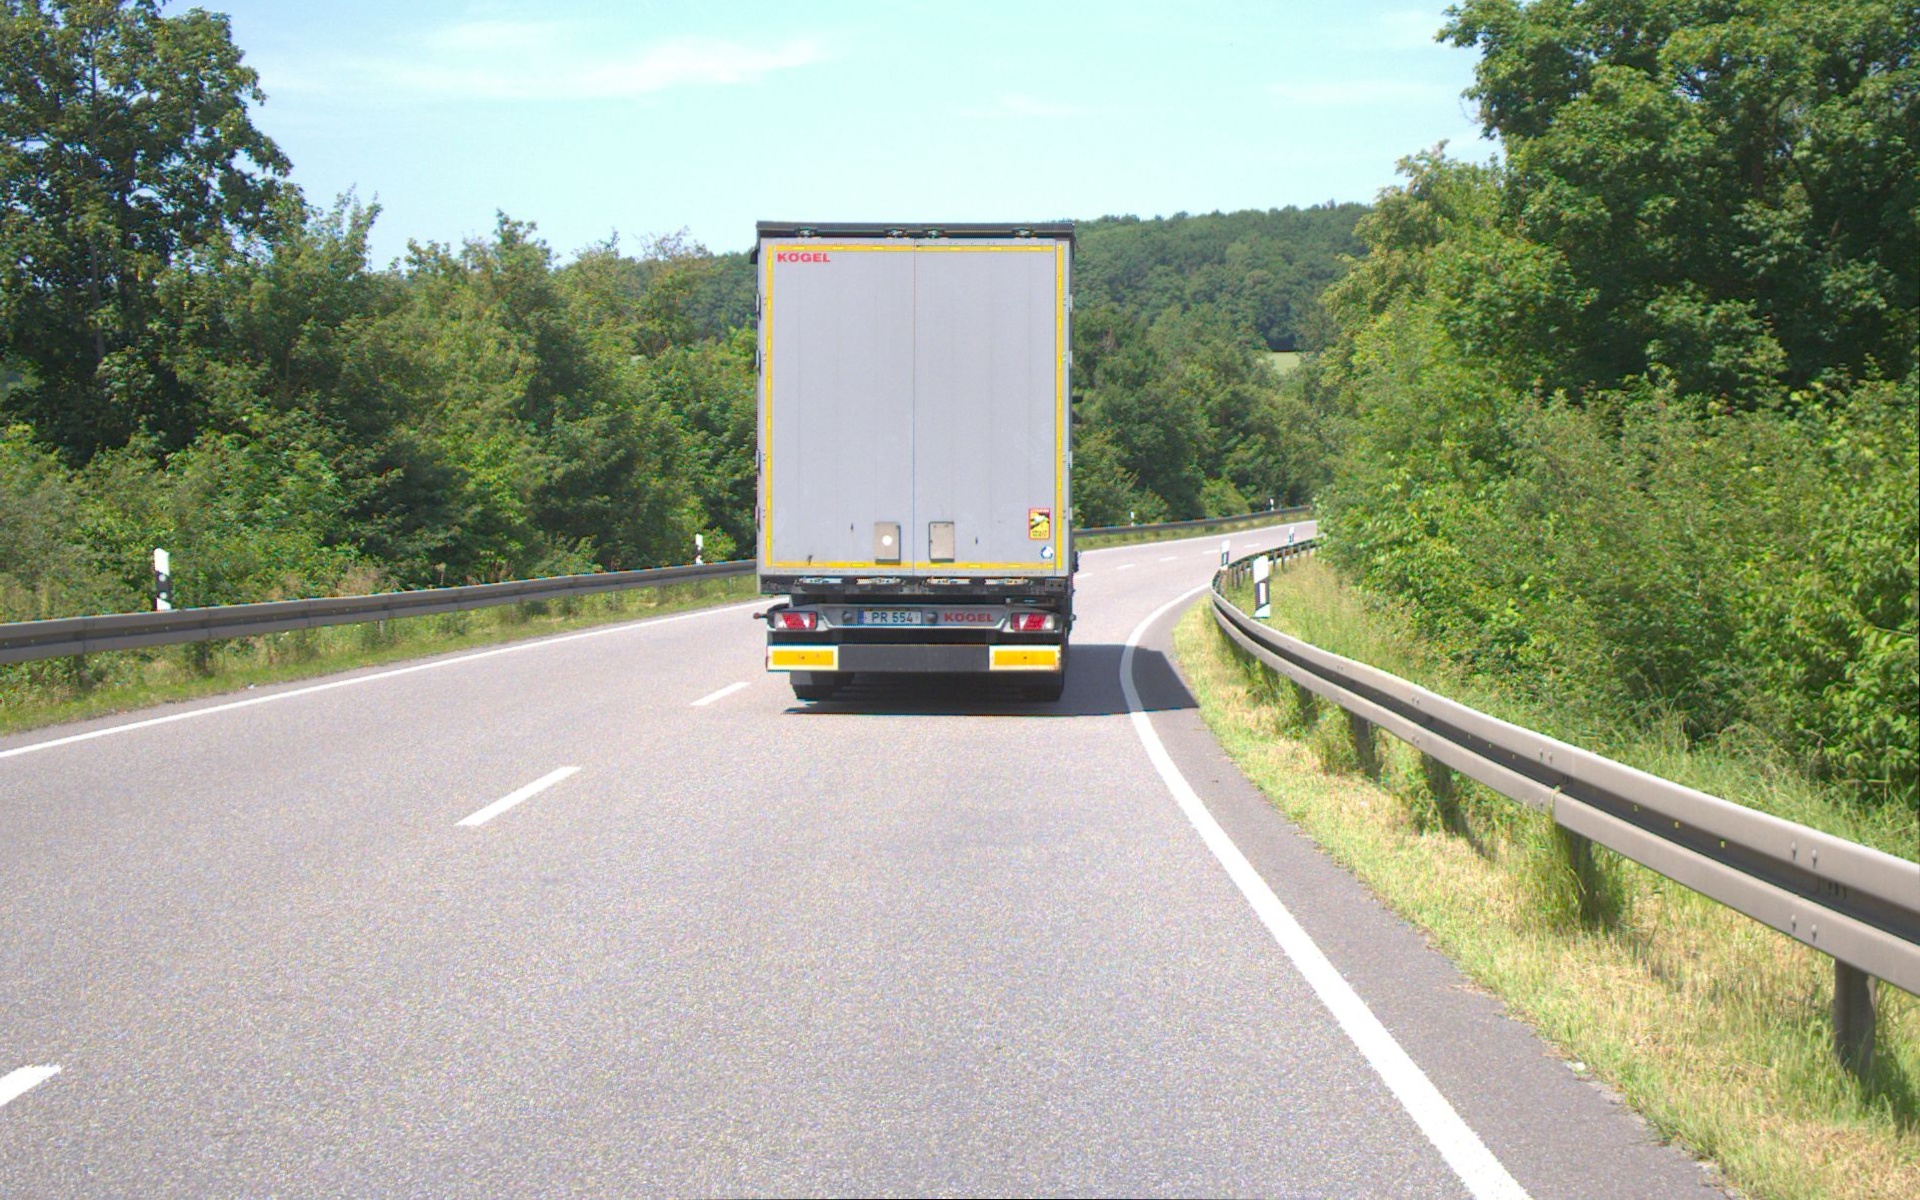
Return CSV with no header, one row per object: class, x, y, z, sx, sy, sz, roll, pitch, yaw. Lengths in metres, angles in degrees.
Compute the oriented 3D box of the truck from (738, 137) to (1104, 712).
truck,-0.225,-1.526,33.307,2.817,4.517,11.768,1,1,1
